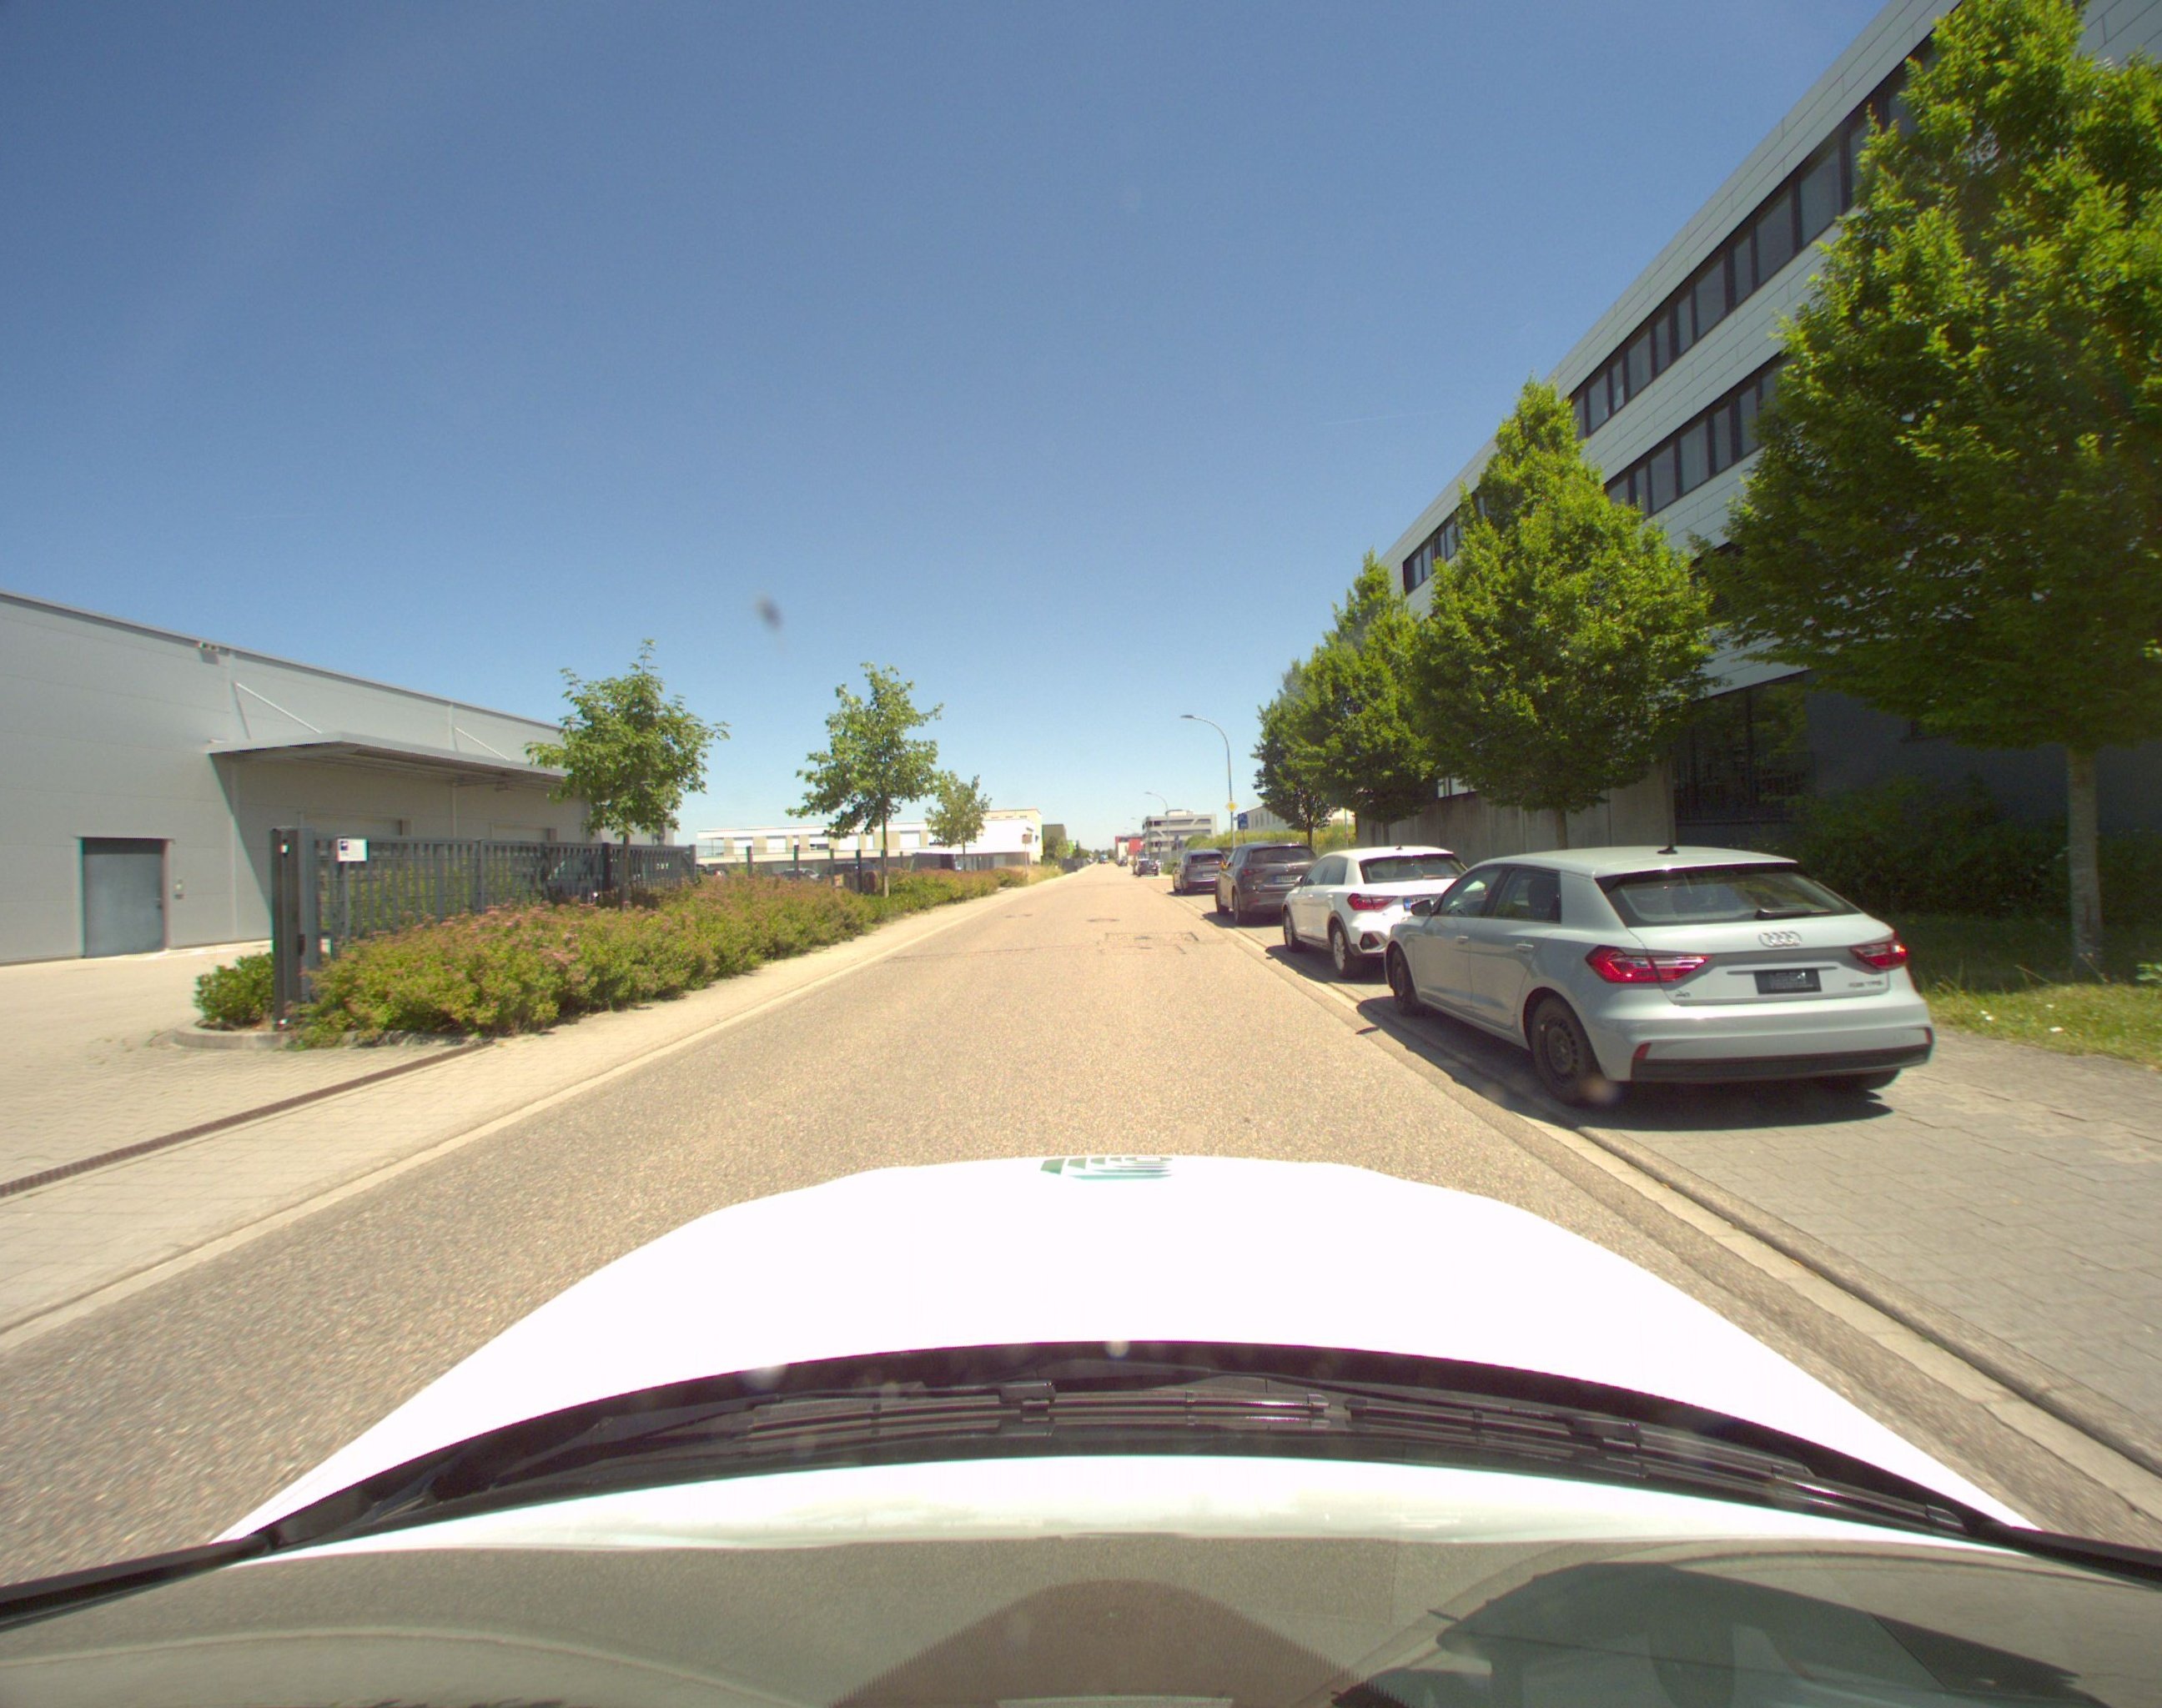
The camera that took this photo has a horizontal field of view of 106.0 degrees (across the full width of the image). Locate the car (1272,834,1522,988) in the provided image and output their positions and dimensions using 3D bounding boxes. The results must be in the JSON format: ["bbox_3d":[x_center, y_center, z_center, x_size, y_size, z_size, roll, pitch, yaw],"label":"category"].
[{"bbox_3d":[3.776,0.598,10.540,1.709,1.481,4.033,-5,0,2],"label":"car"}]

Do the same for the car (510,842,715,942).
[{"bbox_3d":[-10.972,0.819,19.578,1.992,2.099,4.698,0,0,3],"label":"car"}]

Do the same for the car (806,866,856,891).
[{"bbox_3d":[-15.164,1.480,49.548,1.819,1.337,3.758,-2,0,-1],"label":"car"}]

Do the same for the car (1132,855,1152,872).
[{"bbox_3d":[6.385,0.980,85.236,1.899,1.546,4.005,-4,-1,4],"label":"car"}]

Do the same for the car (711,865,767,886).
[{"bbox_3d":[-20.573,1.278,49.156,1.819,1.134,3.758,-2,0,-1],"label":"car"}]

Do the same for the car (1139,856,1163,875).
[{"bbox_3d":[6.027,0.949,69.993,1.899,1.448,4.005,-4,-1,4],"label":"car"}]

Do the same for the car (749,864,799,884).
[{"bbox_3d":[-20.267,1.294,53.910,1.819,1.134,3.758,-2,0,-1],"label":"car"}]

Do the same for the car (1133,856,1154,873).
[{"bbox_3d":[6.045,0.987,78.921,1.899,1.546,4.005,-4,-1,4],"label":"car"}]

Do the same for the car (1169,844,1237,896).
[{"bbox_3d":[4.488,0.552,30.635,1.797,1.662,4.609,-5,0,1],"label":"car"}]

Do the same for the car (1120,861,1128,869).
[{"bbox_3d":[9.474,2.359,180.725,1.769,1.728,4.002,0,0,2],"label":"car"}]

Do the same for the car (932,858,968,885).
[{"bbox_3d":[-8.103,1.060,50.542,1.695,1.520,2.996,-2,0,-1],"label":"car"}]

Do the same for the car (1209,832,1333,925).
[{"bbox_3d":[3.956,0.470,17.682,1.751,1.663,4.365,-4,0,2],"label":"car"}]

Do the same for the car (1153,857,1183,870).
[{"bbox_3d":[13.550,1.533,127.217,4.603,2.014,2.610,0,0,5],"label":"car"}]

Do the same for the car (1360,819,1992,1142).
[{"bbox_3d":[3.531,0.607,5.890,1.709,1.423,3.953,-5,0,2],"label":"car"}]
